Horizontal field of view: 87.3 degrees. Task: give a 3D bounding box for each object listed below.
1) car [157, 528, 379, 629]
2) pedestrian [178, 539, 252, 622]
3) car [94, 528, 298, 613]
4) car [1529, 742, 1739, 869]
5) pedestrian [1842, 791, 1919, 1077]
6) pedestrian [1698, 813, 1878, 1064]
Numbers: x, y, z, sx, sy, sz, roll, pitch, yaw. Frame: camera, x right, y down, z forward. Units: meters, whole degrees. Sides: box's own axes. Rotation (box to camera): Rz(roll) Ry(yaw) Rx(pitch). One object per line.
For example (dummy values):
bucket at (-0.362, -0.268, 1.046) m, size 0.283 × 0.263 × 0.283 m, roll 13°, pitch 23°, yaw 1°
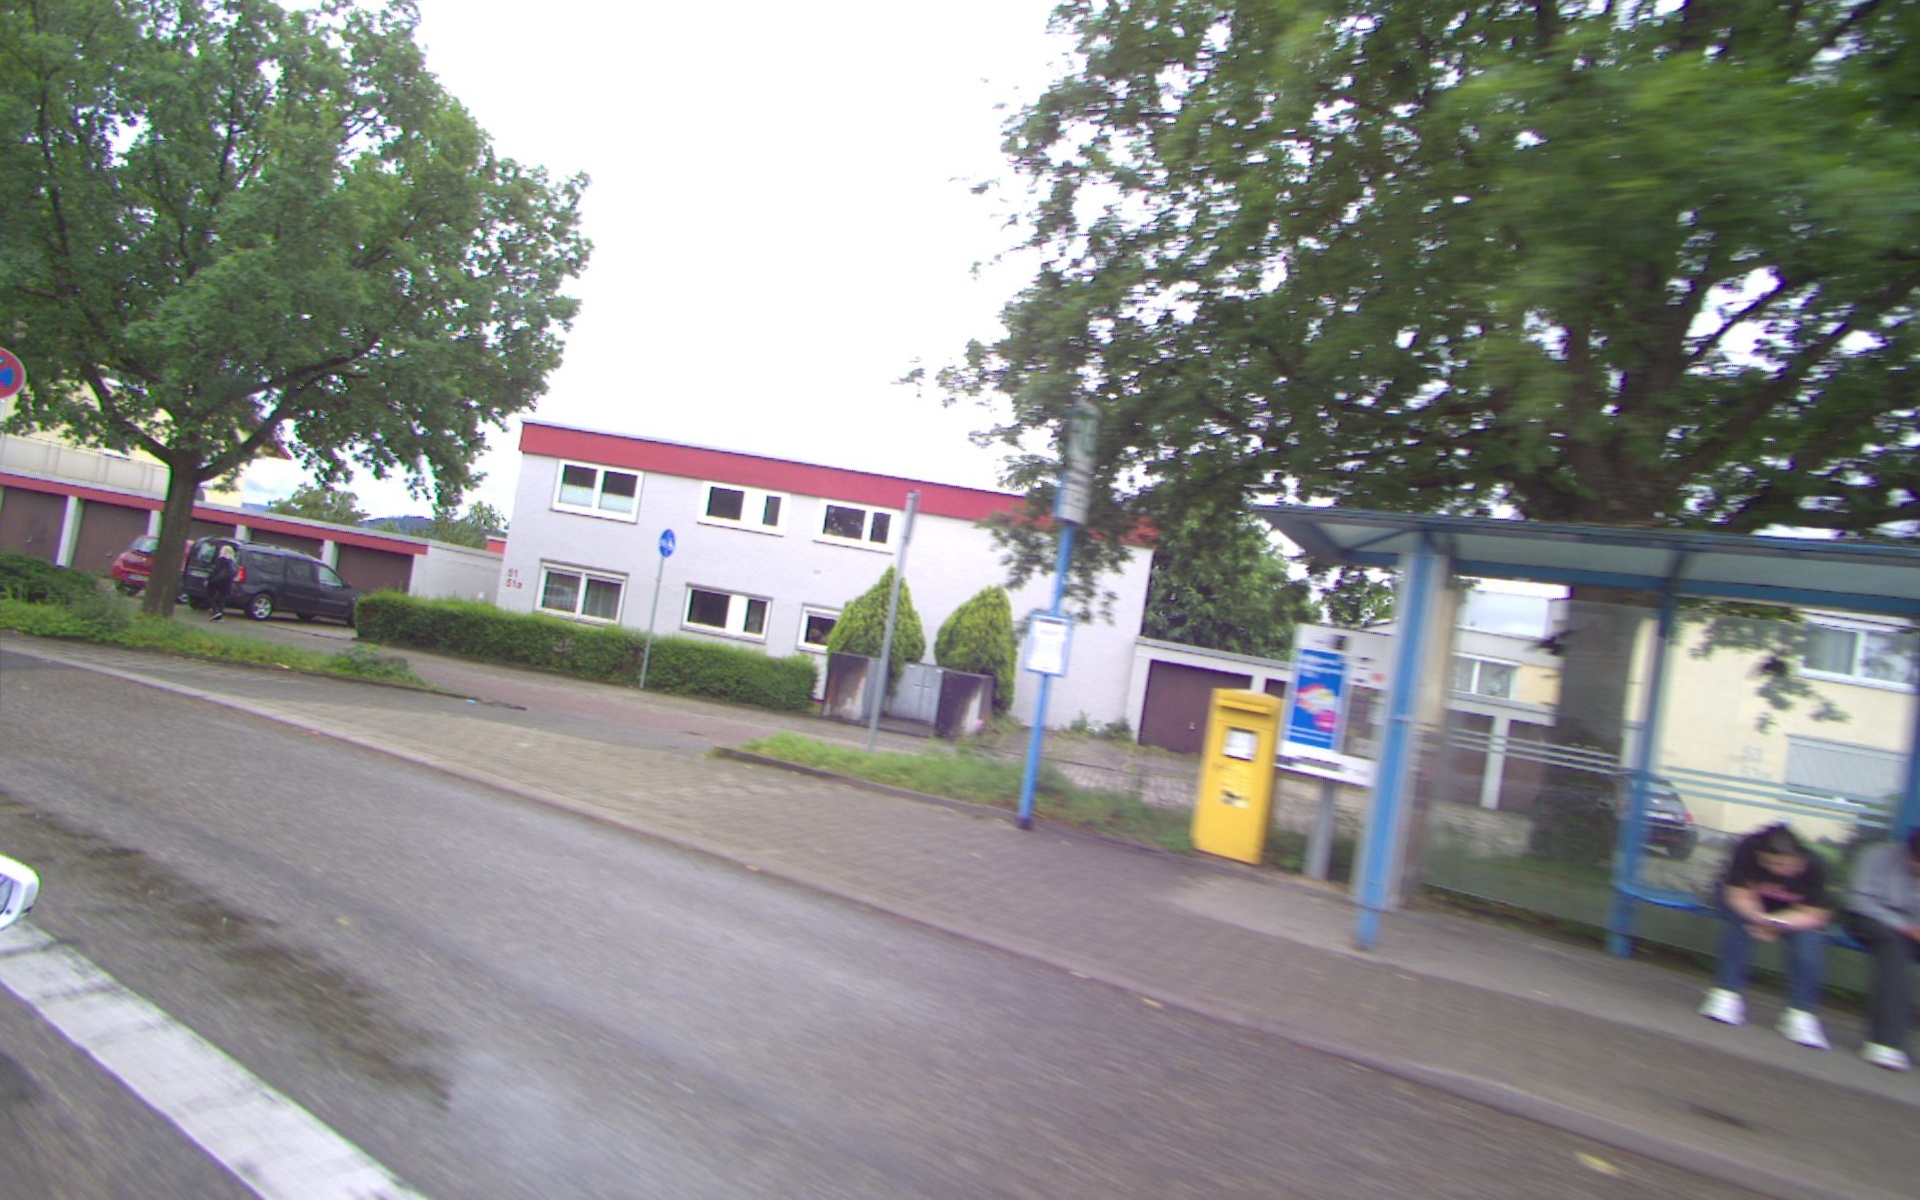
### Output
car at (-15.894, -0.404, 23.400) m, size 1.888 × 1.740 × 4.007 m, roll 8°, pitch -3°, yaw 7°
pedestrian at (-15.369, -0.385, 20.769) m, size 0.827 × 1.576 × 0.666 m, roll 8°, pitch 0°, yaw 3°
car at (-18.286, -0.634, 24.319) m, size 1.675 × 1.457 × 3.710 m, roll 8°, pitch -3°, yaw 7°
car at (13.092, 3.941, 19.838) m, size 1.729 × 1.551 × 3.624 m, roll 9°, pitch 0°, yaw 5°
pedestrian at (4.788, 1.625, 4.892) m, size 0.542 × 1.264 × 0.728 m, roll 7°, pitch -2°, yaw 34°
pedestrian at (4.209, 1.677, 5.164) m, size 0.542 × 1.023 × 0.750 m, roll 7°, pitch -2°, yaw 34°
